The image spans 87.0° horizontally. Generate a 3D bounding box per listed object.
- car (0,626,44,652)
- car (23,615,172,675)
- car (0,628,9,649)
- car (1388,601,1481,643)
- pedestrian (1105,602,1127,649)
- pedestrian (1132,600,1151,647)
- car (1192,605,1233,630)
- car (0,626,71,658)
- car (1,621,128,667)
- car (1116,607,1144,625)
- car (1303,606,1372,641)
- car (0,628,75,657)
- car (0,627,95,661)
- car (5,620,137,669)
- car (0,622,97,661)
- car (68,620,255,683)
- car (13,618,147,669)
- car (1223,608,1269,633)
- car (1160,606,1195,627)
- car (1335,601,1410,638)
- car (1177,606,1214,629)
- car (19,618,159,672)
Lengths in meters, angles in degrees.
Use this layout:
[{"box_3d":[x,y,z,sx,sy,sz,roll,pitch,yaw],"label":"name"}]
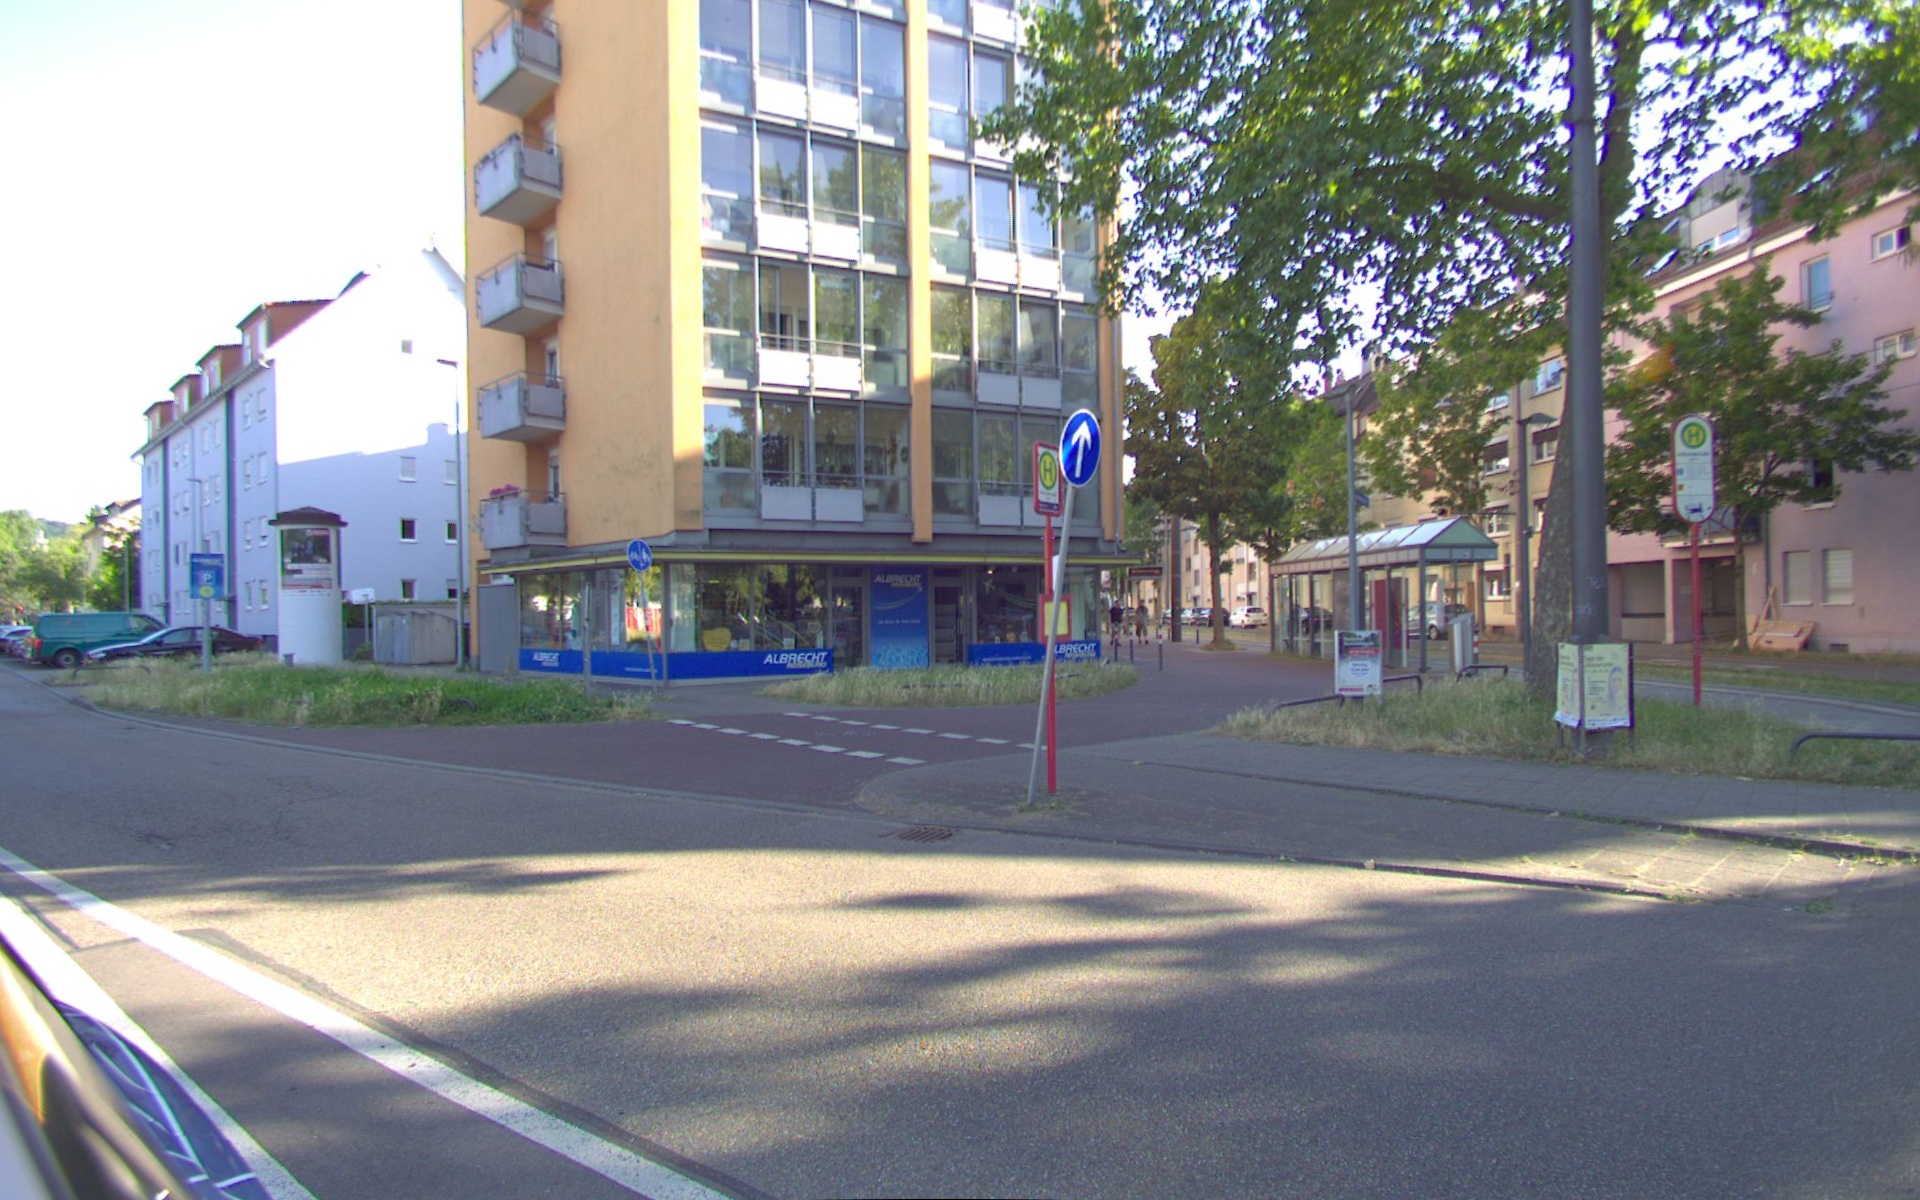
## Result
[{"box_3d":[-63.498,2.608,66.994,4.199,1.585,1.867,-1,0,-44],"label":"car"},{"box_3d":[-31.217,1.559,36.689,2.001,1.962,3.942,-1,0,44],"label":"car"},{"box_3d":[-74.762,2.992,76.962,3.490,1.585,1.867,-1,0,-44],"label":"car"},{"box_3d":[20.744,0.908,44.435,1.911,1.719,4.115,-1,0,-3],"label":"car"},{"box_3d":[5.974,0.971,38.807,0.803,1.763,0.538,-1,0,6],"label":"pedestrian"},{"box_3d":[6.890,0.876,38.453,0.622,1.763,0.689,-1,0,6],"label":"pedestrian"},{"box_3d":[18.701,1.267,75.160,1.808,1.719,4.059,-1,0,-3],"label":"car"},{"box_3d":[-55.795,2.476,60.435,4.016,1.765,1.900,-1,0,-44],"label":"car"},{"box_3d":[-38.829,1.868,43.931,4.016,1.765,1.900,-1,0,-44],"label":"car"},{"box_3d":[17.730,1.639,105.549,1.911,1.719,4.372,-1,0,-3],"label":"car"},{"box_3d":[19.914,1.203,53.603,1.911,1.719,4.115,-1,0,-3],"label":"car"},{"box_3d":[-55.662,2.506,60.382,4.199,1.585,1.867,-1,0,-44],"label":"car"},{"box_3d":[-48.122,2.278,52.958,4.199,1.585,1.867,-1,0,-44],"label":"car"},{"box_3d":[-36.860,1.810,42.013,4.003,1.829,1.938,-1,0,-44],"label":"car"},{"box_3d":[-46.120,2.041,50.867,4.061,1.785,1.758,-1,0,-44],"label":"car"},{"box_3d":[-24.274,1.511,30.867,4.361,1.674,2.003,-1,0,-41],"label":"car"},{"box_3d":[-35.122,1.677,40.435,3.941,1.829,2.001,-1,0,-44],"label":"car"},{"box_3d":[19.169,1.347,68.055,1.741,1.588,4.049,-1,0,-3],"label":"car"},{"box_3d":[18.427,1.394,85.804,1.830,1.719,4.170,-1,0,-3],"label":"car"},{"box_3d":[19.903,0.919,48.990,1.911,1.719,3.827,-1,0,-3],"label":"car"},{"box_3d":[18.639,1.352,80.349,1.771,1.719,4.170,-1,0,-3],"label":"car"},{"box_3d":[-33.122,1.651,38.532,3.941,1.829,2.001,-1,0,-44],"label":"car"}]
